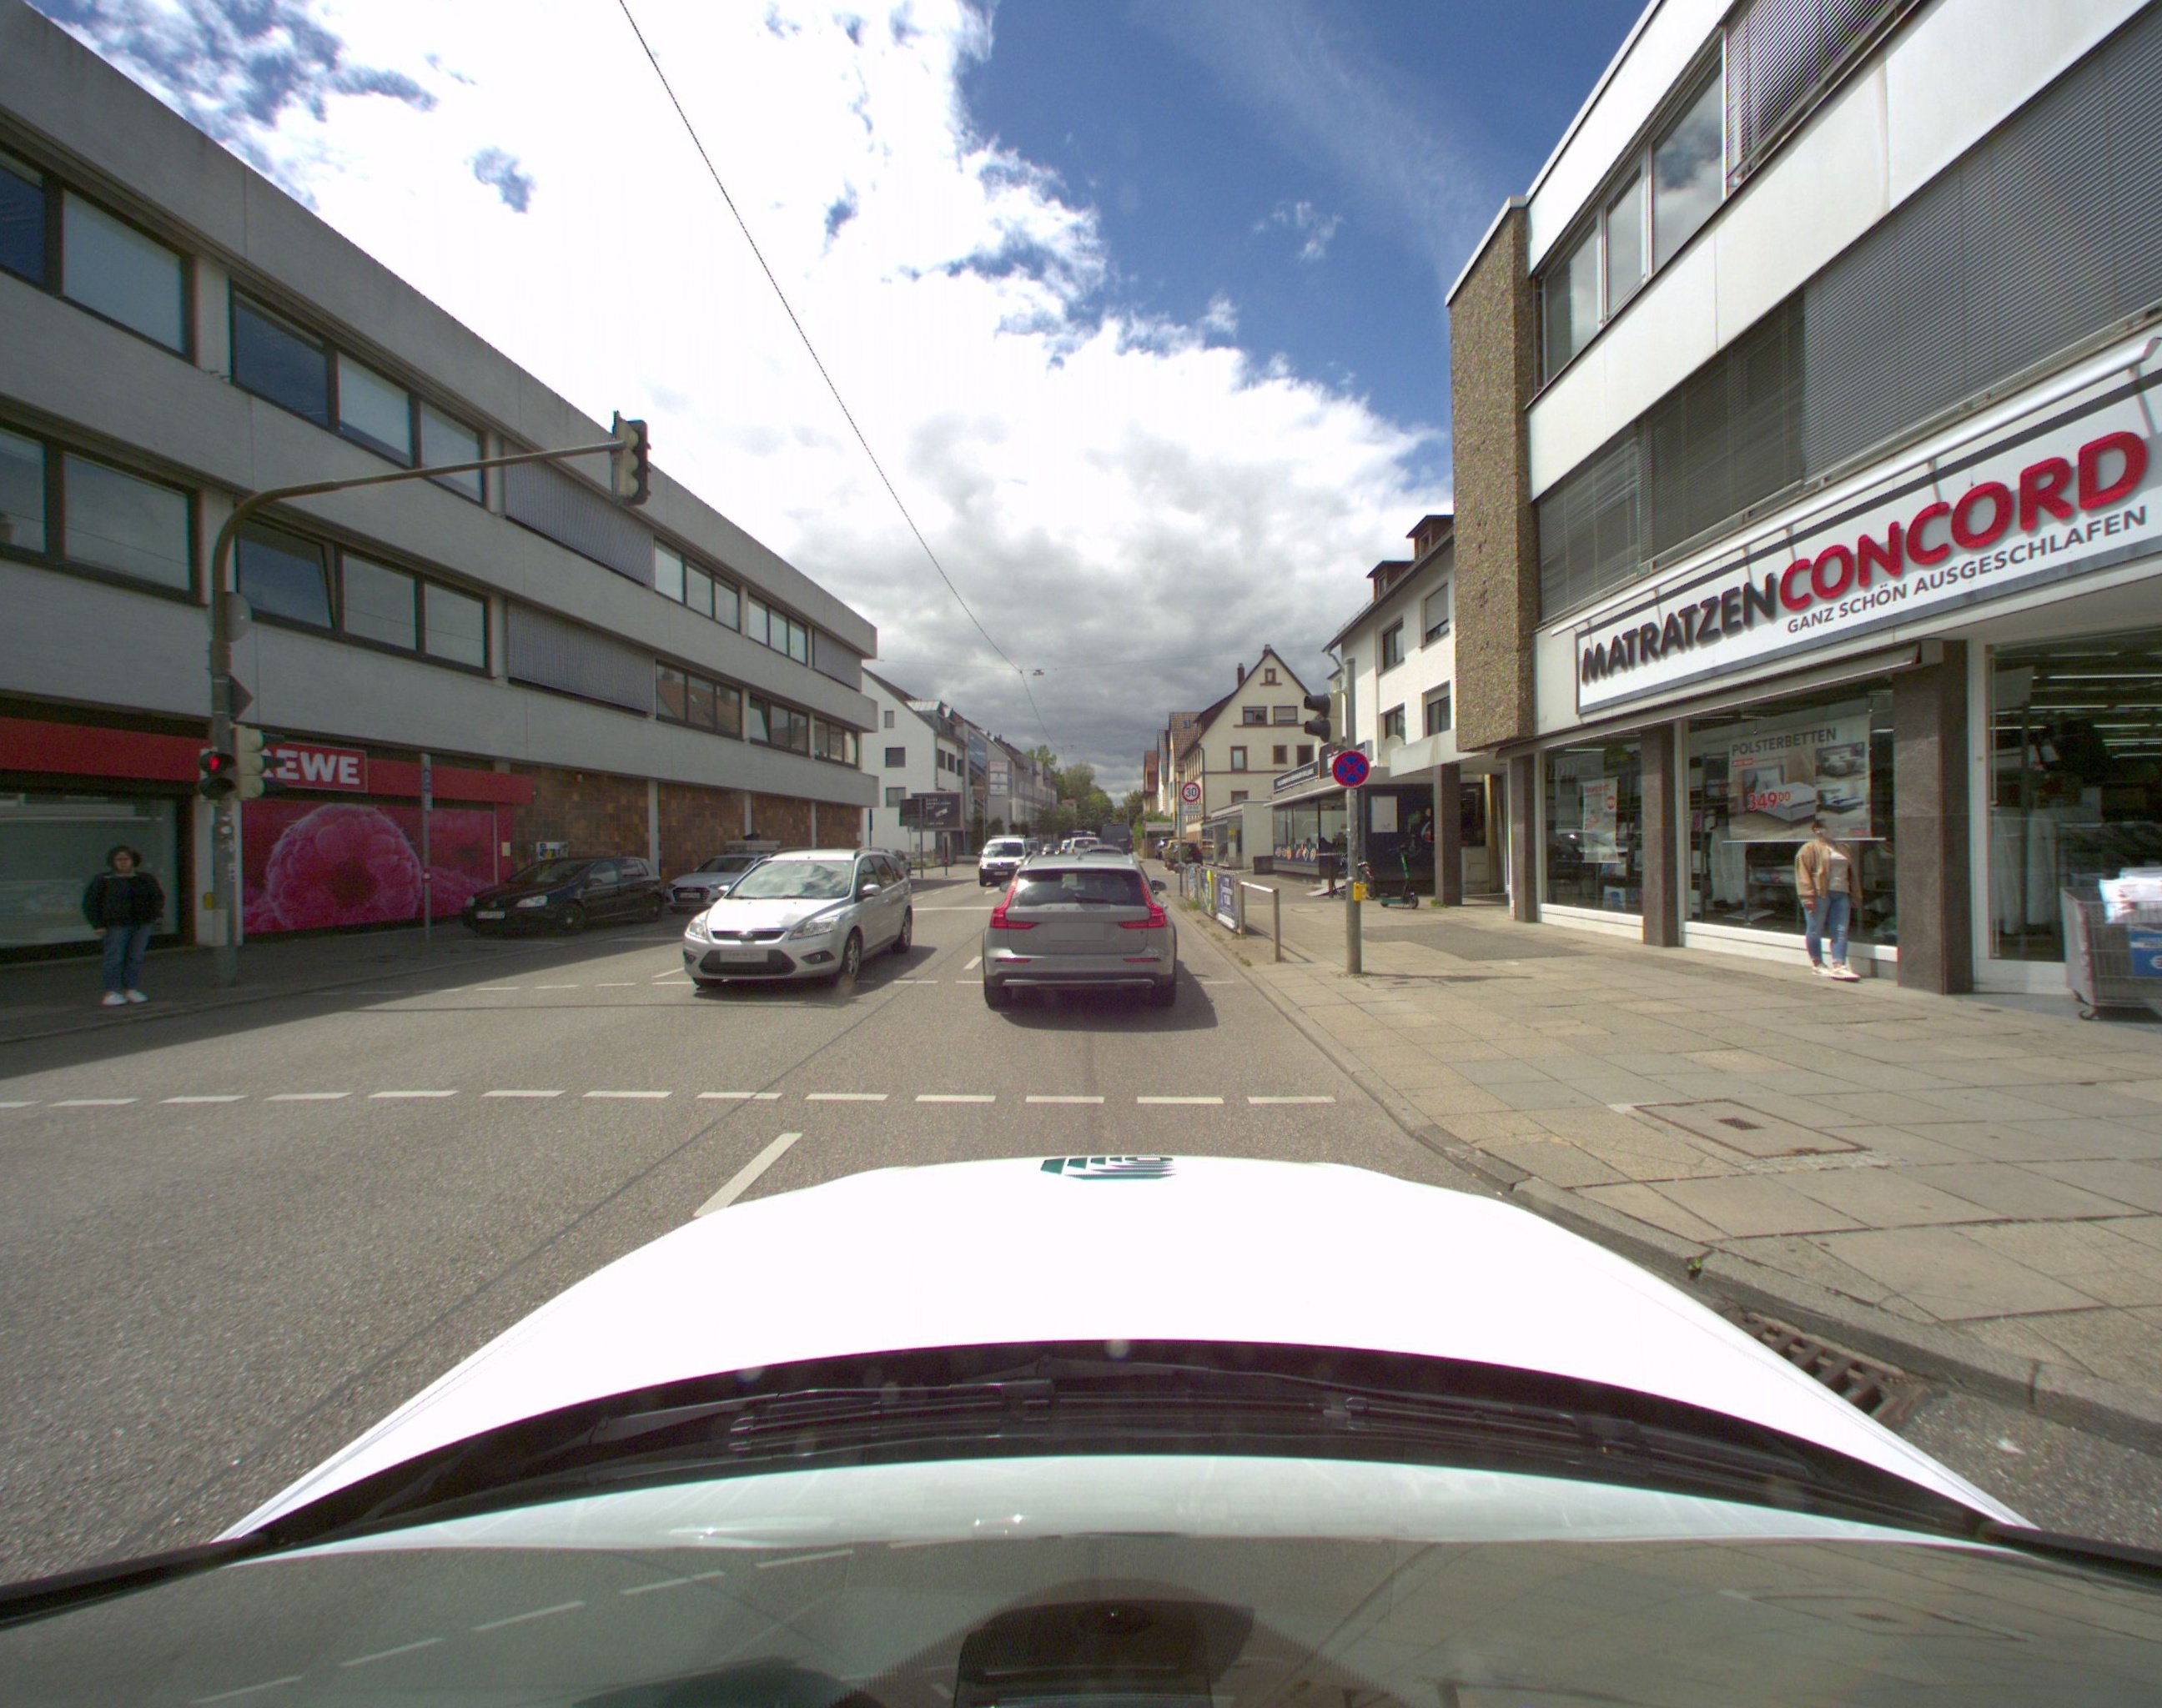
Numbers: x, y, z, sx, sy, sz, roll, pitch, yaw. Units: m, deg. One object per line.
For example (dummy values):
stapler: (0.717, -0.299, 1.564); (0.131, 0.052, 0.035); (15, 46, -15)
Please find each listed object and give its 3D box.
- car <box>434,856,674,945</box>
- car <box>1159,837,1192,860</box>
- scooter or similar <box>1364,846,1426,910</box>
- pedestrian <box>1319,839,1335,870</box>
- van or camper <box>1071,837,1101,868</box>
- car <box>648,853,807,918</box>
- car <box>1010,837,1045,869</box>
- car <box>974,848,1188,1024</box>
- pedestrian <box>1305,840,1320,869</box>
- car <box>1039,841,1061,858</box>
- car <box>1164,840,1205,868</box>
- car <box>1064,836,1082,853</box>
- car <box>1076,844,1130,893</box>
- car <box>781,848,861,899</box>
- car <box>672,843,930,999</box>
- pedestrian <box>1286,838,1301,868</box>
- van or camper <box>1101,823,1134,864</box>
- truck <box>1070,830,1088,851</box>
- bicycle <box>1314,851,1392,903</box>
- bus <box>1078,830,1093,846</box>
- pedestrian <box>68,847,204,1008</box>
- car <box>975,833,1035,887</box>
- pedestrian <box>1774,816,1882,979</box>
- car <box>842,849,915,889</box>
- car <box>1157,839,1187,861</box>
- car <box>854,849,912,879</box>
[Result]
car: (-10.011, 0.793, 15.926); (1.776, 1.464, 4.093); (0, 1, 5)
car: (6.234, -0.320, 54.004); (1.875, 1.415, 3.973); (0, -1, 2)
scooter or similar: (6.431, 0.494, 16.723); (0.342, 1.253, 1.235); (-4, 0, -24)
pedestrian: (8.517, 0.014, 28.194); (0.413, 1.052, 0.367); (-2, 1, -1)
van or camper: (0.363, -0.052, 52.495); (1.813, 1.835, 4.000); (-1, -1, 1)
car: (-9.088, 0.741, 21.398); (1.894, 1.443, 4.450); (0, 1, 5)
car: (-3.395, -0.061, 52.212); (1.832, 1.917, 4.532); (-2, 0, 1)
car: (0.031, 0.694, 9.031); (1.829, 1.486, 4.001); (-1, 0, 1)
pedestrian: (8.425, 0.024, 29.613); (0.413, 1.052, 0.367); (-2, 1, -1)
car: (-2.749, -0.386, 72.963); (1.756, 1.426, 4.001); (-2, 1, 1)
car: (5.654, 0.009, 44.801); (1.705, 1.464, 3.998); (0, -1, -1)
car: (-0.919, -1.078, 93.163); (1.791, 1.816, 4.002); (0, -1, 2)
car: (0.702, 0.430, 26.708); (1.645, 1.482, 3.608); (0, 0, 1)
car: (-8.643, 0.613, 27.293); (1.601, 1.543, 2.946); (1, 1, 2)
car: (-3.253, 0.660, 10.413); (1.662, 1.553, 4.217); (-1, 1, 2)
pedestrian: (7.581, -0.037, 29.002); (0.413, 1.052, 0.367); (-2, 1, -1)
van or camper: (2.522, -0.730, 56.563); (2.115, 2.686, 4.784); (-2, 1, 2)
truck: (-0.231, -1.937, 119.570); (2.267, 2.886, 7.083); (-2, 1, 2)
bicycle: (6.550, 0.518, 19.727); (0.556, 1.144, 2.287); (-2, 1, -16)
bus: (0.791, -2.681, 136.058); (2.267, 2.668, 7.434); (-2, 1, 2)
pedestrian: (-10.105, 0.755, 8.733); (0.616, 1.641, 0.661); (-2, 1, 2)
car: (-2.858, 0.207, 31.301); (1.832, 1.917, 4.156); (0, 0, 1)
pedestrian: (6.999, 0.398, 7.652); (0.500, 1.459, 0.502); (-4, 0, 14)
car: (-8.279, 0.565, 33.623); (1.748, 1.426, 3.866); (-2, 1, 4)
car: (6.463, -0.284, 58.384); (1.875, 1.500, 3.973); (0, -1, 2)
car: (-10.211, 0.487, 42.206); (1.899, 1.398, 3.844); (-2, 1, 2)
